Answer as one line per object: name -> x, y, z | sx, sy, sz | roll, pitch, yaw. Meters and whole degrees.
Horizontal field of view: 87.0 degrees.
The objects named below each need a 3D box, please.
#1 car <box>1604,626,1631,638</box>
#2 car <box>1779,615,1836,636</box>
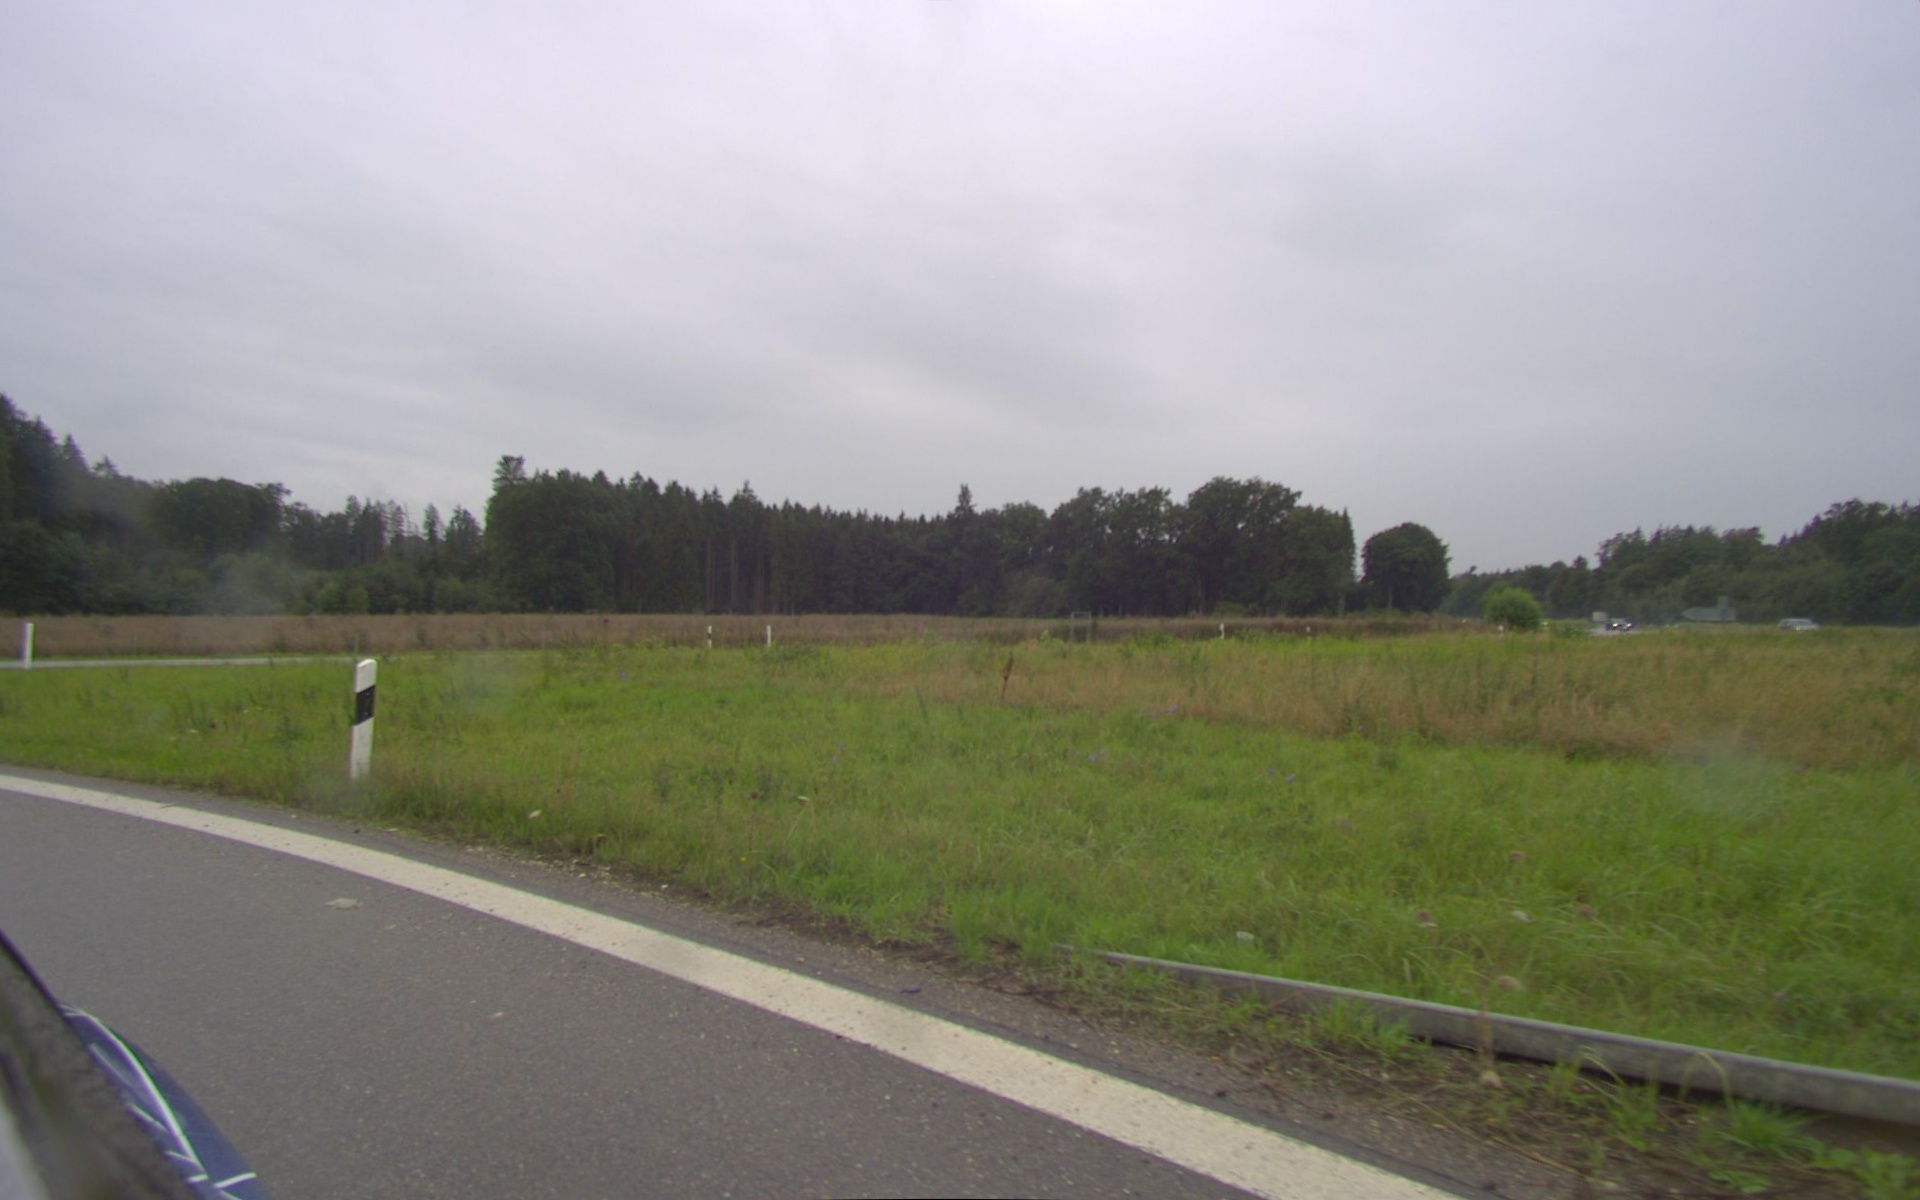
car -> 86.954, 4.159, 133.856 | 2.086, 1.465, 4.562 | 1, 0, 22
car -> 69.195, 2.069, 82.728 | 1.854, 1.646, 5.068 | 0, -1, 20
